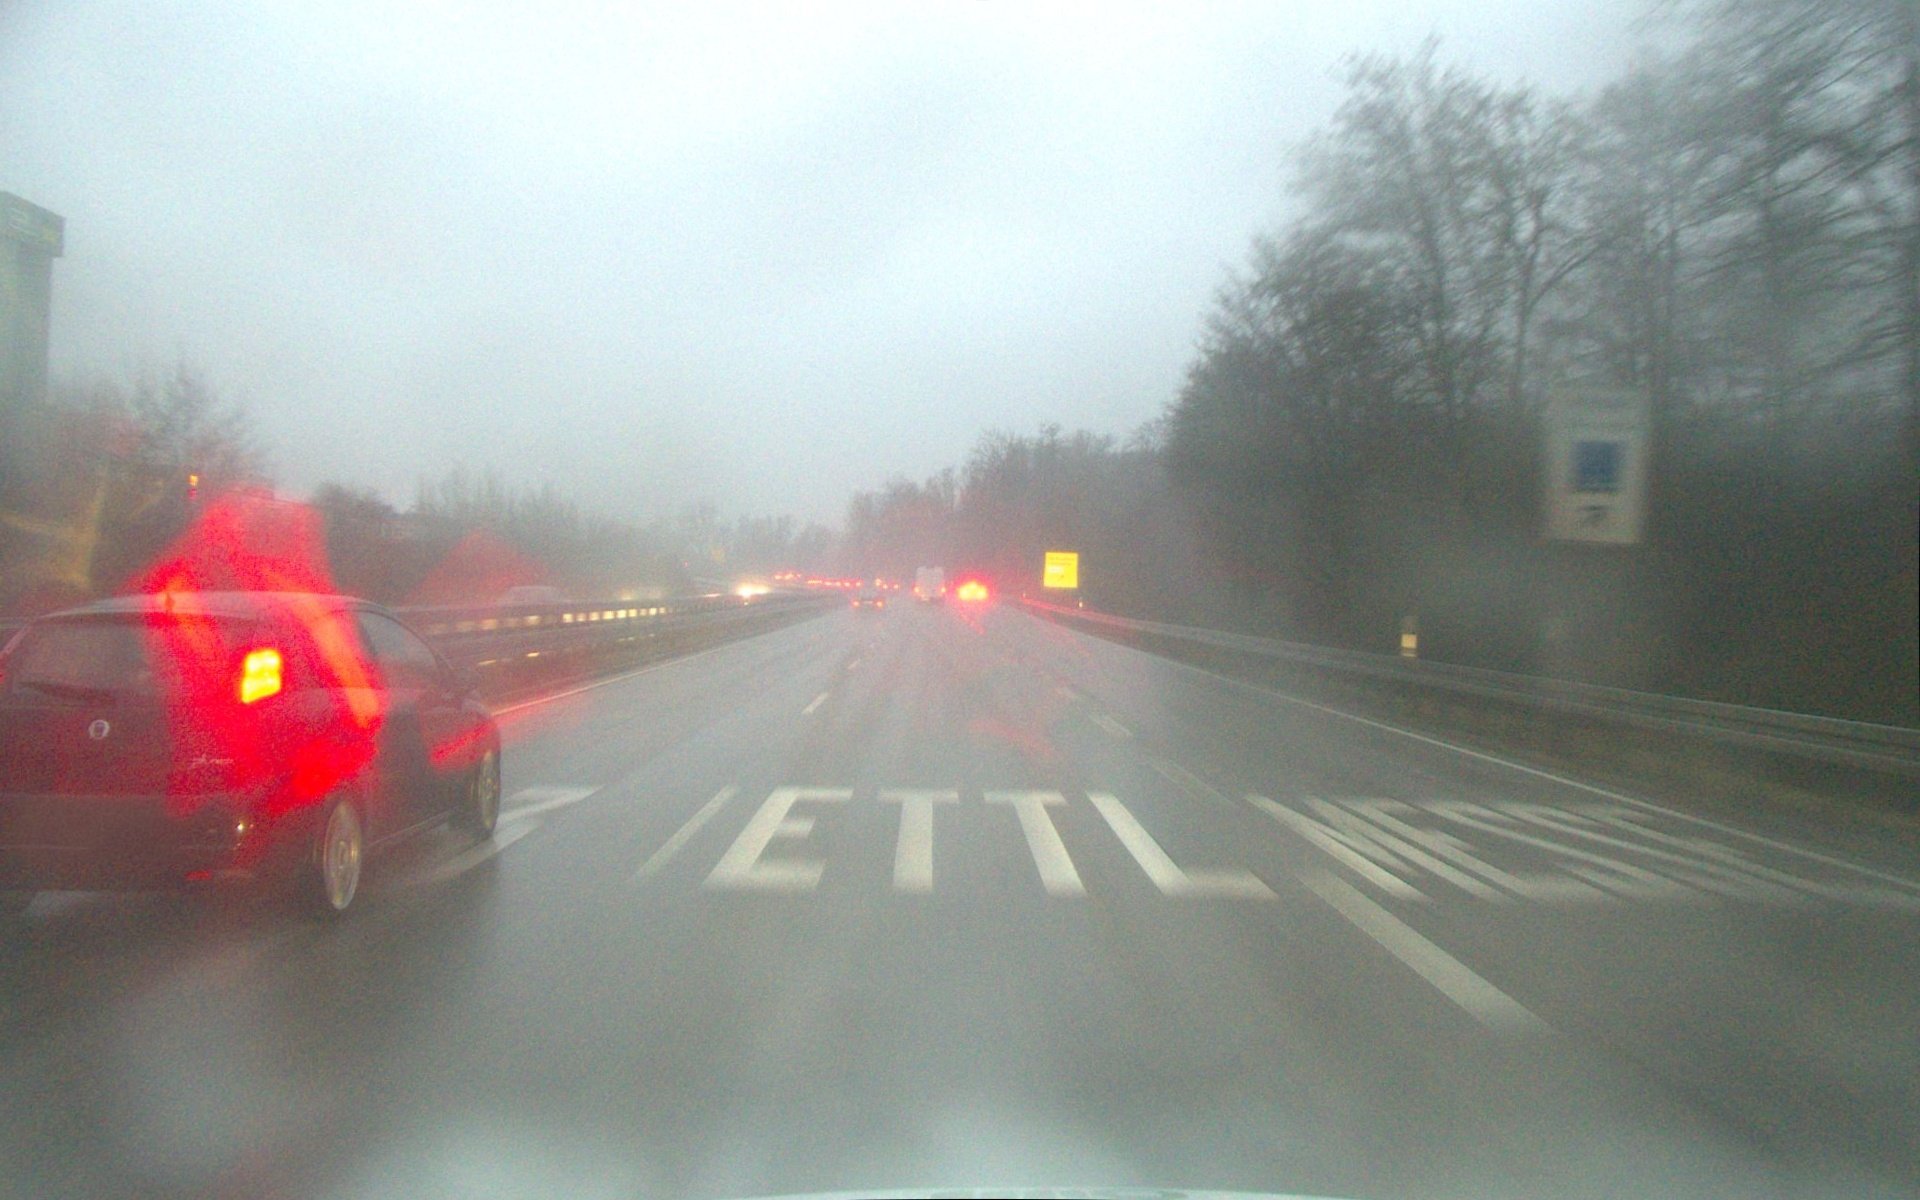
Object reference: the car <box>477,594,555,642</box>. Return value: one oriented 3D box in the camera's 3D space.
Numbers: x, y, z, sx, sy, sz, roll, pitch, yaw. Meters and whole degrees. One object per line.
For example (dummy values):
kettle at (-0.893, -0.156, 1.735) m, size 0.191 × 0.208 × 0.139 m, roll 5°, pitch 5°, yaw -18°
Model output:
car at (-14.368, 0.567, 53.682) m, size 1.582 × 1.489 × 3.644 m, roll 1°, pitch 0°, yaw -1°

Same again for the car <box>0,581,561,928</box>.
car at (-3.433, 0.667, 9.039) m, size 1.593 × 1.416 × 3.998 m, roll 2°, pitch 0°, yaw -2°

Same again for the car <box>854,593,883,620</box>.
car at (-4.787, 0.343, 86.809) m, size 1.387 × 1.340 × 3.082 m, roll 2°, pitch 0°, yaw -1°
